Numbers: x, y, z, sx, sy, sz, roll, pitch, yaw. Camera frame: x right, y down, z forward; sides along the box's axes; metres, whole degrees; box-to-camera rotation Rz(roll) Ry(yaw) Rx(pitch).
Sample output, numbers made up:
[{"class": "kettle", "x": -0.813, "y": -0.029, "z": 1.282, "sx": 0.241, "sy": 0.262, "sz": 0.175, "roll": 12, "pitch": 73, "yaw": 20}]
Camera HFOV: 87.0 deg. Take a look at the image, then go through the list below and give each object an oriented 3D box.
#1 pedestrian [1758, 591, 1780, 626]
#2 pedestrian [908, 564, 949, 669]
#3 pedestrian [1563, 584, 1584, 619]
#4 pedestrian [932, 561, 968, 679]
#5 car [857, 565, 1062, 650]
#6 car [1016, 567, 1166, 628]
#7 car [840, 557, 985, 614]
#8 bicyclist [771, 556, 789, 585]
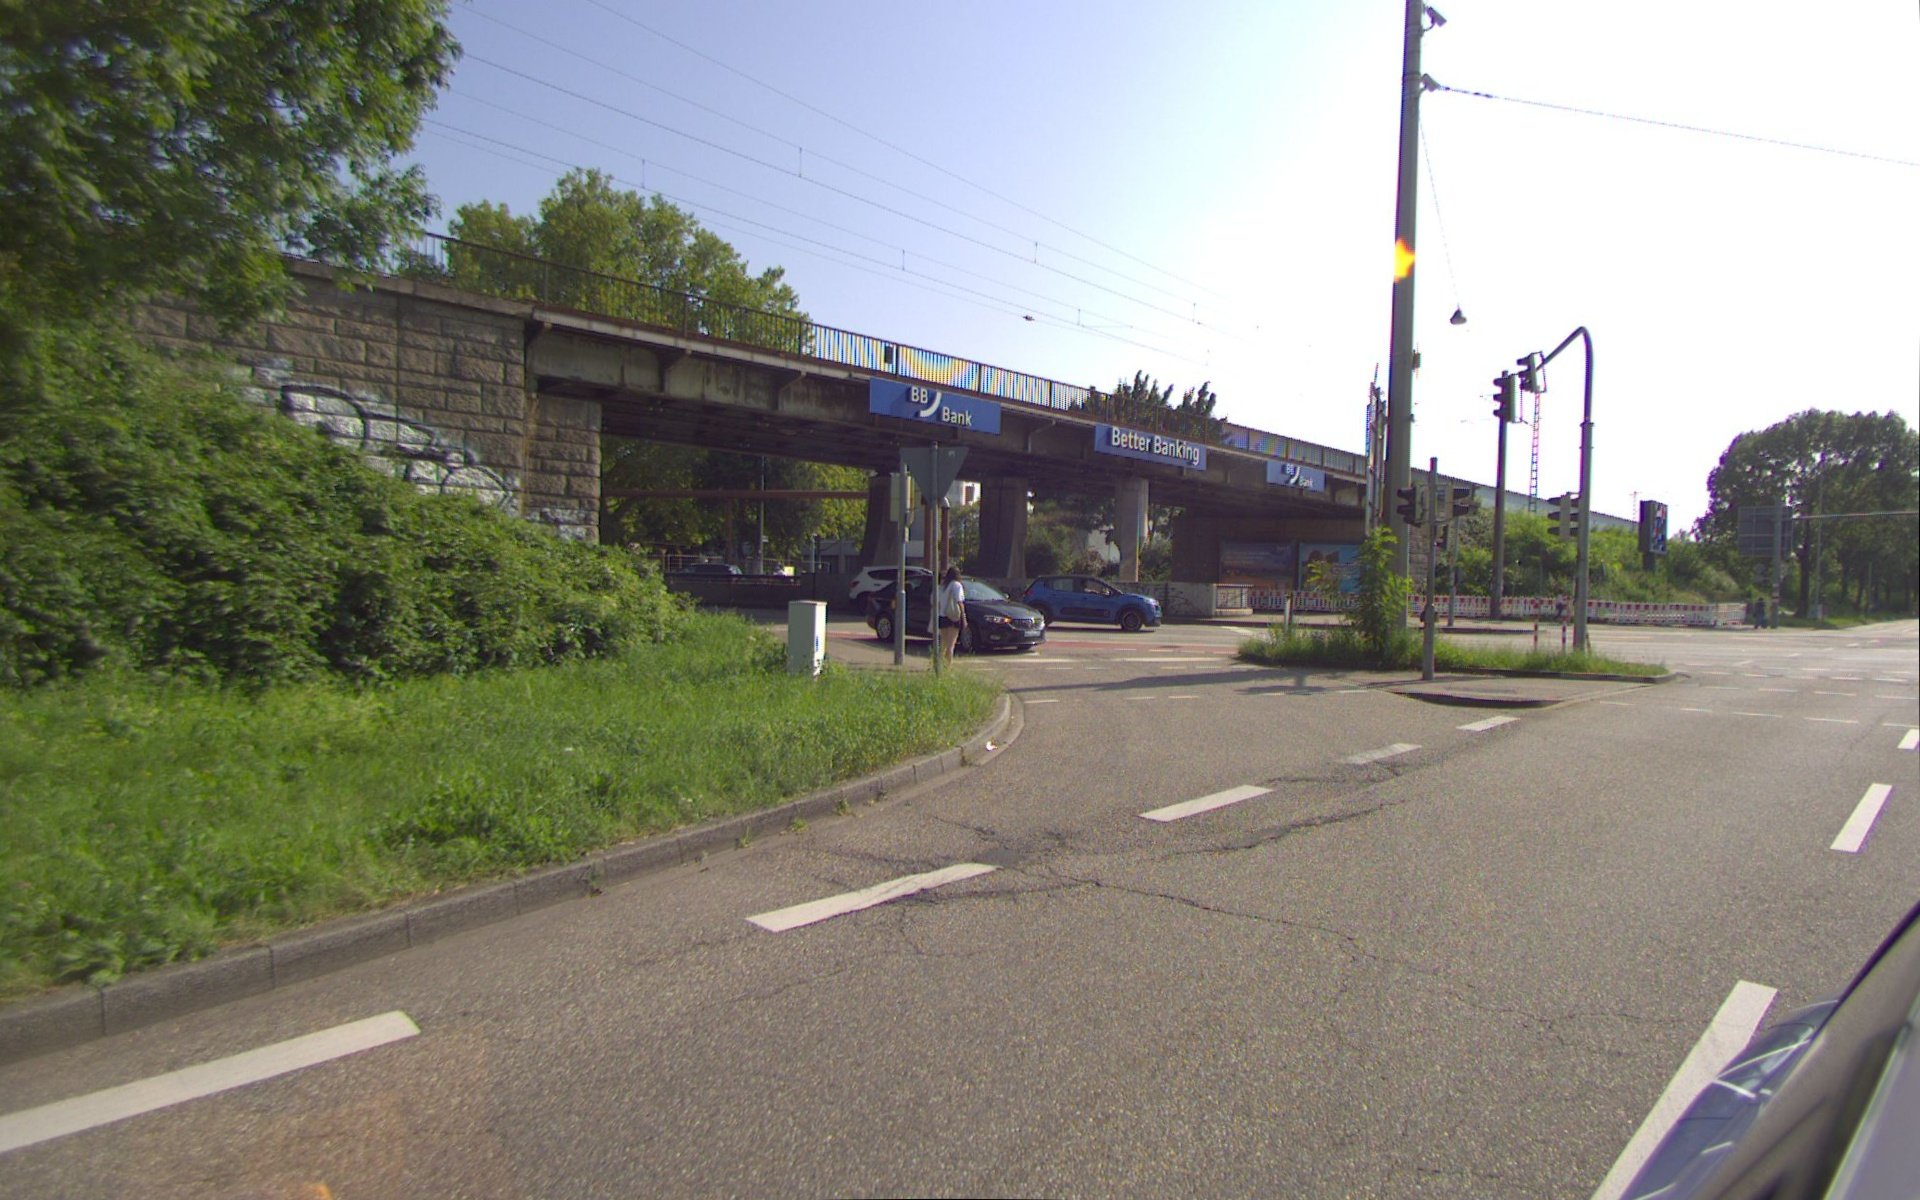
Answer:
[{"class": "pedestrian", "x": 38.692, "y": 0.397, "z": 48.404, "sx": 0.747, "sy": 1.593, "sz": 0.649, "roll": -1, "pitch": 3, "yaw": -44}, {"class": "pedestrian", "x": -0.482, "y": 0.241, "z": 15.557, "sx": 0.562, "sy": 1.586, "sz": 0.535, "roll": 0, "pitch": 1, "yaw": 6}, {"class": "pedestrian", "x": 27.878, "y": 0.055, "z": 45.998, "sx": 0.625, "sy": 1.594, "sz": 0.489, "roll": 1, "pitch": 1, "yaw": 10}, {"class": "pedestrian", "x": -0.138, "y": 0.279, "z": 14.880, "sx": 0.483, "sy": 1.702, "sz": 0.571, "roll": 0, "pitch": 2, "yaw": 3}, {"class": "car", "x": -0.093, "y": 0.081, "z": 21.002, "sx": 1.841, "sy": 1.552, "sz": 4.183, "roll": 0, "pitch": 2, "yaw": -45}, {"class": "car", "x": 3.607, "y": -0.096, "z": 27.741, "sx": 3.938, "sy": 1.470, "sz": 1.612, "roll": 2, "pitch": 1, "yaw": 12}, {"class": "car", "x": -1.451, "y": -0.471, "z": 31.795, "sx": 4.155, "sy": 1.638, "sz": 2.003, "roll": 2, "pitch": 1, "yaw": 14}, {"class": "bicyclist", "x": -9.134, "y": -1.509, "z": 51.333, "sx": 0.799, "sy": 1.443, "sz": 0.442, "roll": 1, "pitch": 3, "yaw": 9}]
